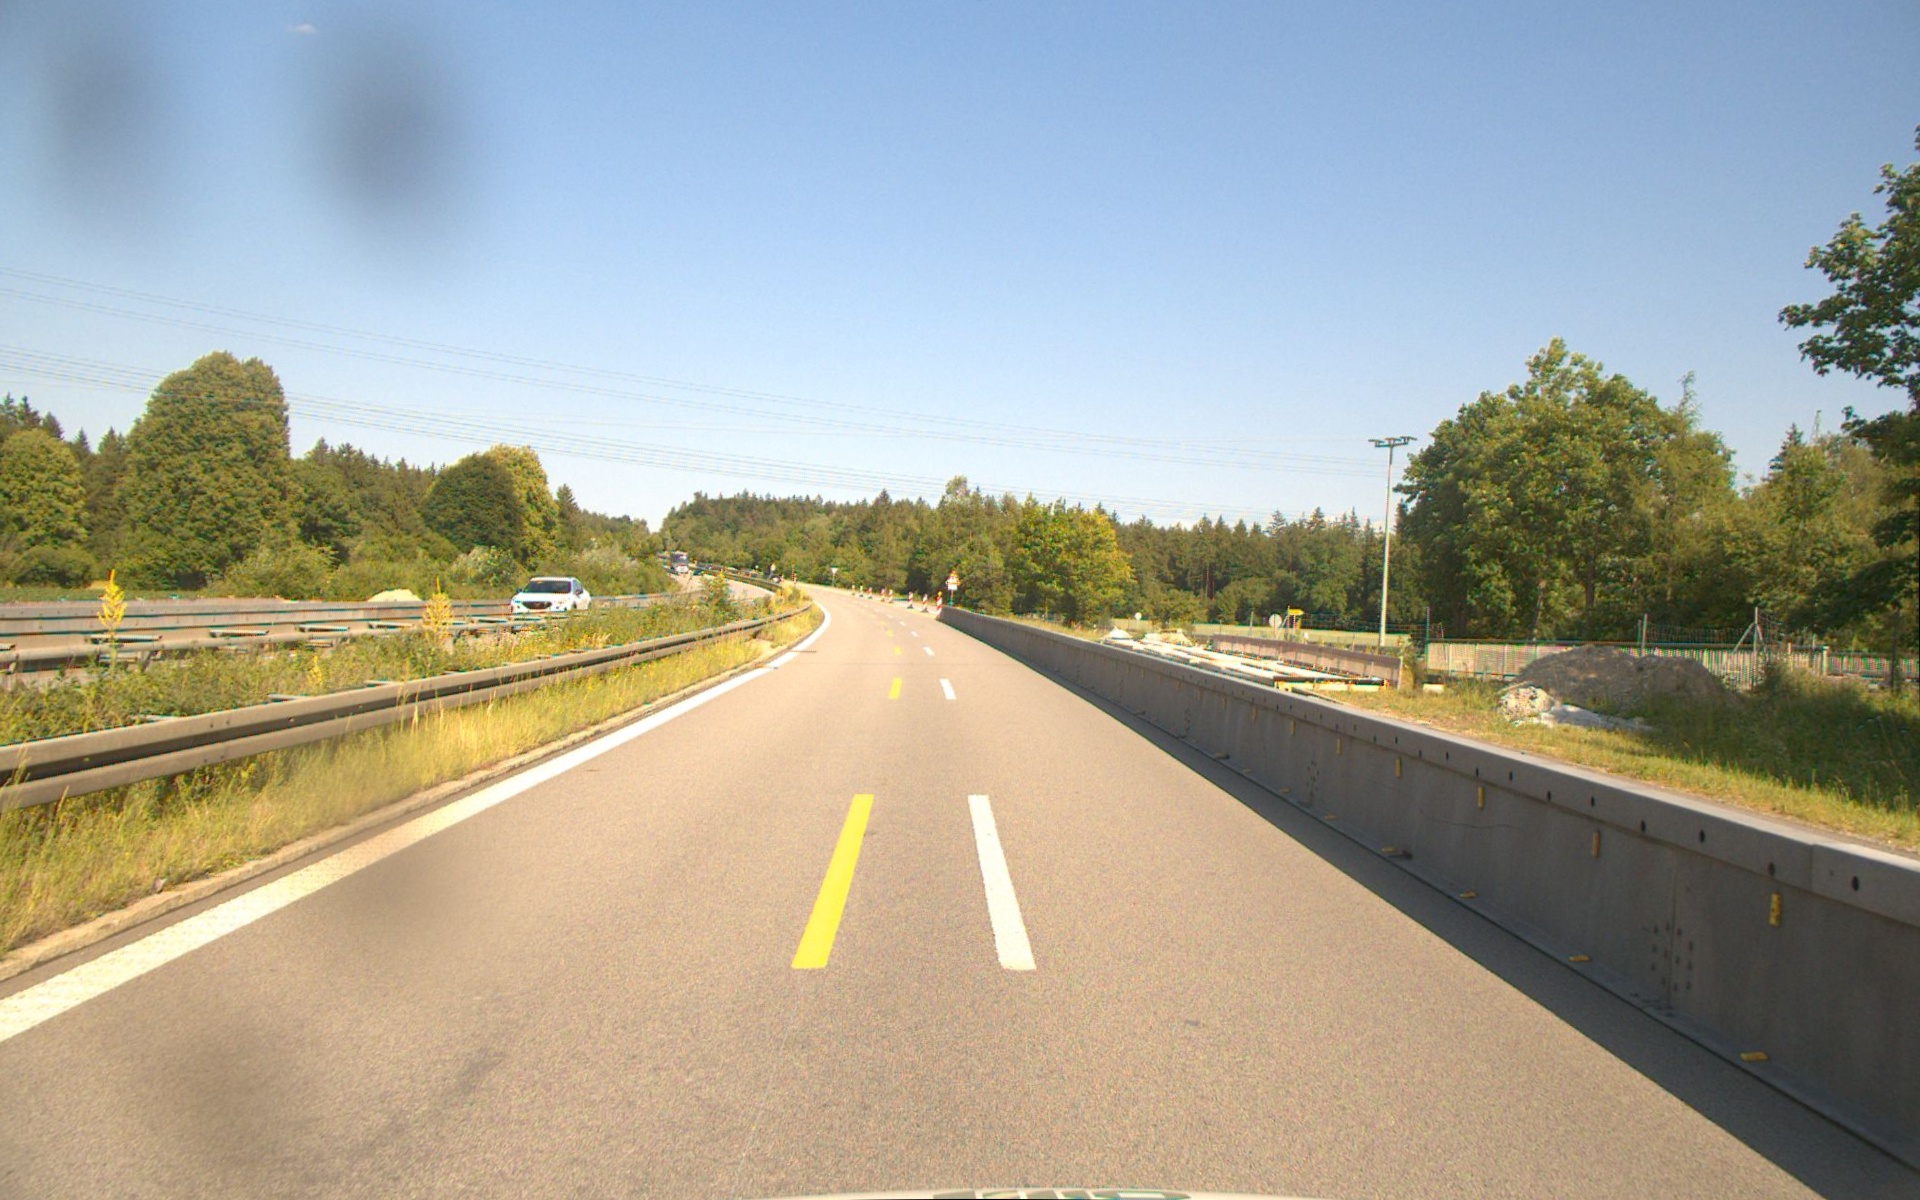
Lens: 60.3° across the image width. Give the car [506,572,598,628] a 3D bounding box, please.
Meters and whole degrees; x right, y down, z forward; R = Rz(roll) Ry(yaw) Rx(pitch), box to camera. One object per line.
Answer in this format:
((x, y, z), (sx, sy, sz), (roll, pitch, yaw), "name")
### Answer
((-11.977, 0.011, 48.785), (1.724, 1.538, 4.532), (1, 0, -2), "car")
